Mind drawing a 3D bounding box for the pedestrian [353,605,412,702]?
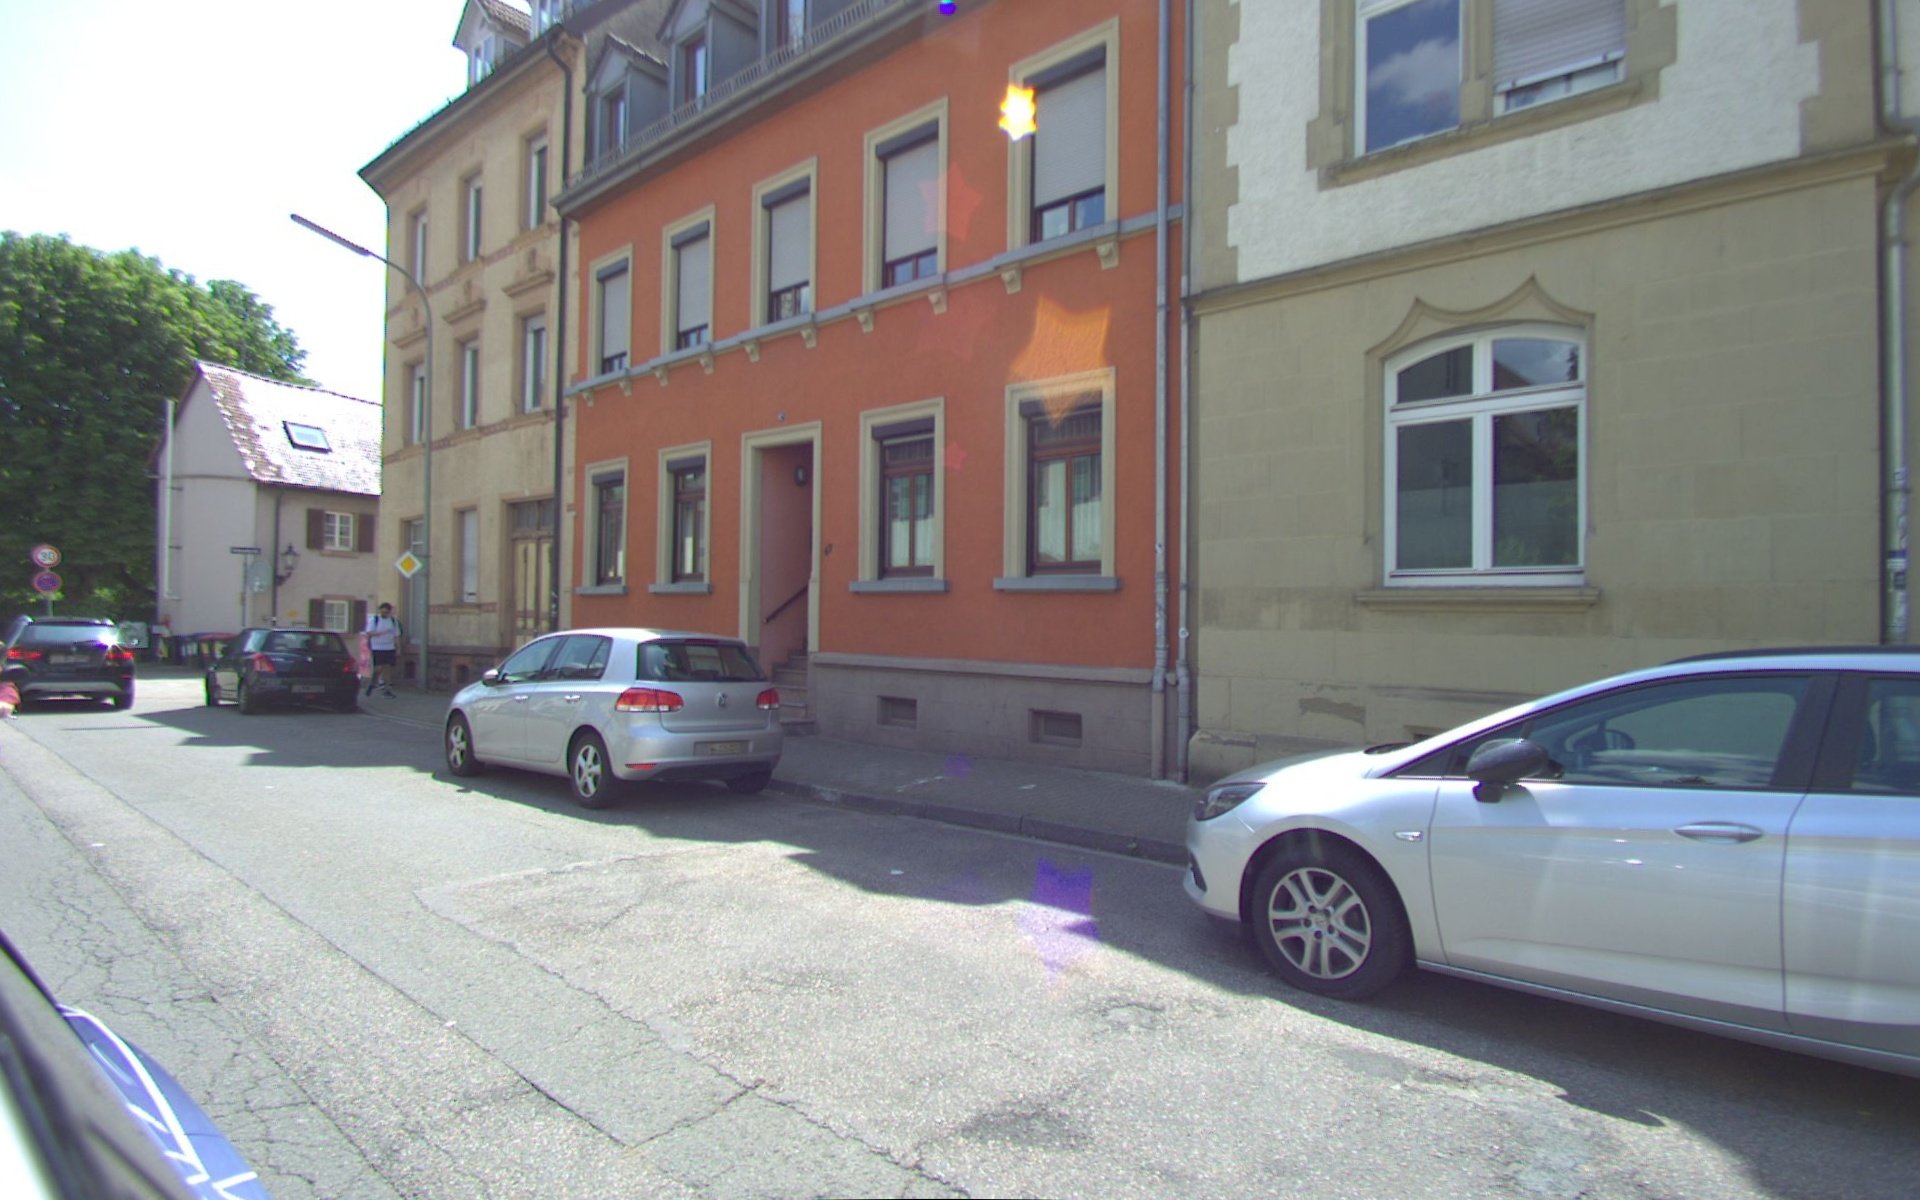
[{"bbox_3d":[-10.965,0.999,19.209,0.763,1.784,0.760,-1,-1,41],"label":"pedestrian"}]

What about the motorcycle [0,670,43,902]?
[{"bbox_3d":[-5.581,0.955,5.442,1.991,1.063,0.750,-1,-1,42],"label":"motorcycle"}]

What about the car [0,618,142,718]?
[{"bbox_3d":[-15.668,1.095,17.539,4.064,1.537,1.767,-1,-3,44],"label":"car"}]

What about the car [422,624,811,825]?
[{"bbox_3d":[-3.291,0.985,9.354,3.852,1.470,1.692,-1,-4,41],"label":"car"}]

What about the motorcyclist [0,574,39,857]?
[{"bbox_3d":[-5.476,0.599,5.354,1.020,1.451,0.782,-1,-1,41],"label":"motorcyclist"}]

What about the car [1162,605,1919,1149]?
[{"bbox_3d":[3.132,0.805,3.710,4.380,1.522,1.858,-1,-3,42],"label":"car"}]

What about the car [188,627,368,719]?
[{"bbox_3d":[-12.211,1.226,18.040,3.855,1.453,1.710,-1,-2,41],"label":"car"}]
